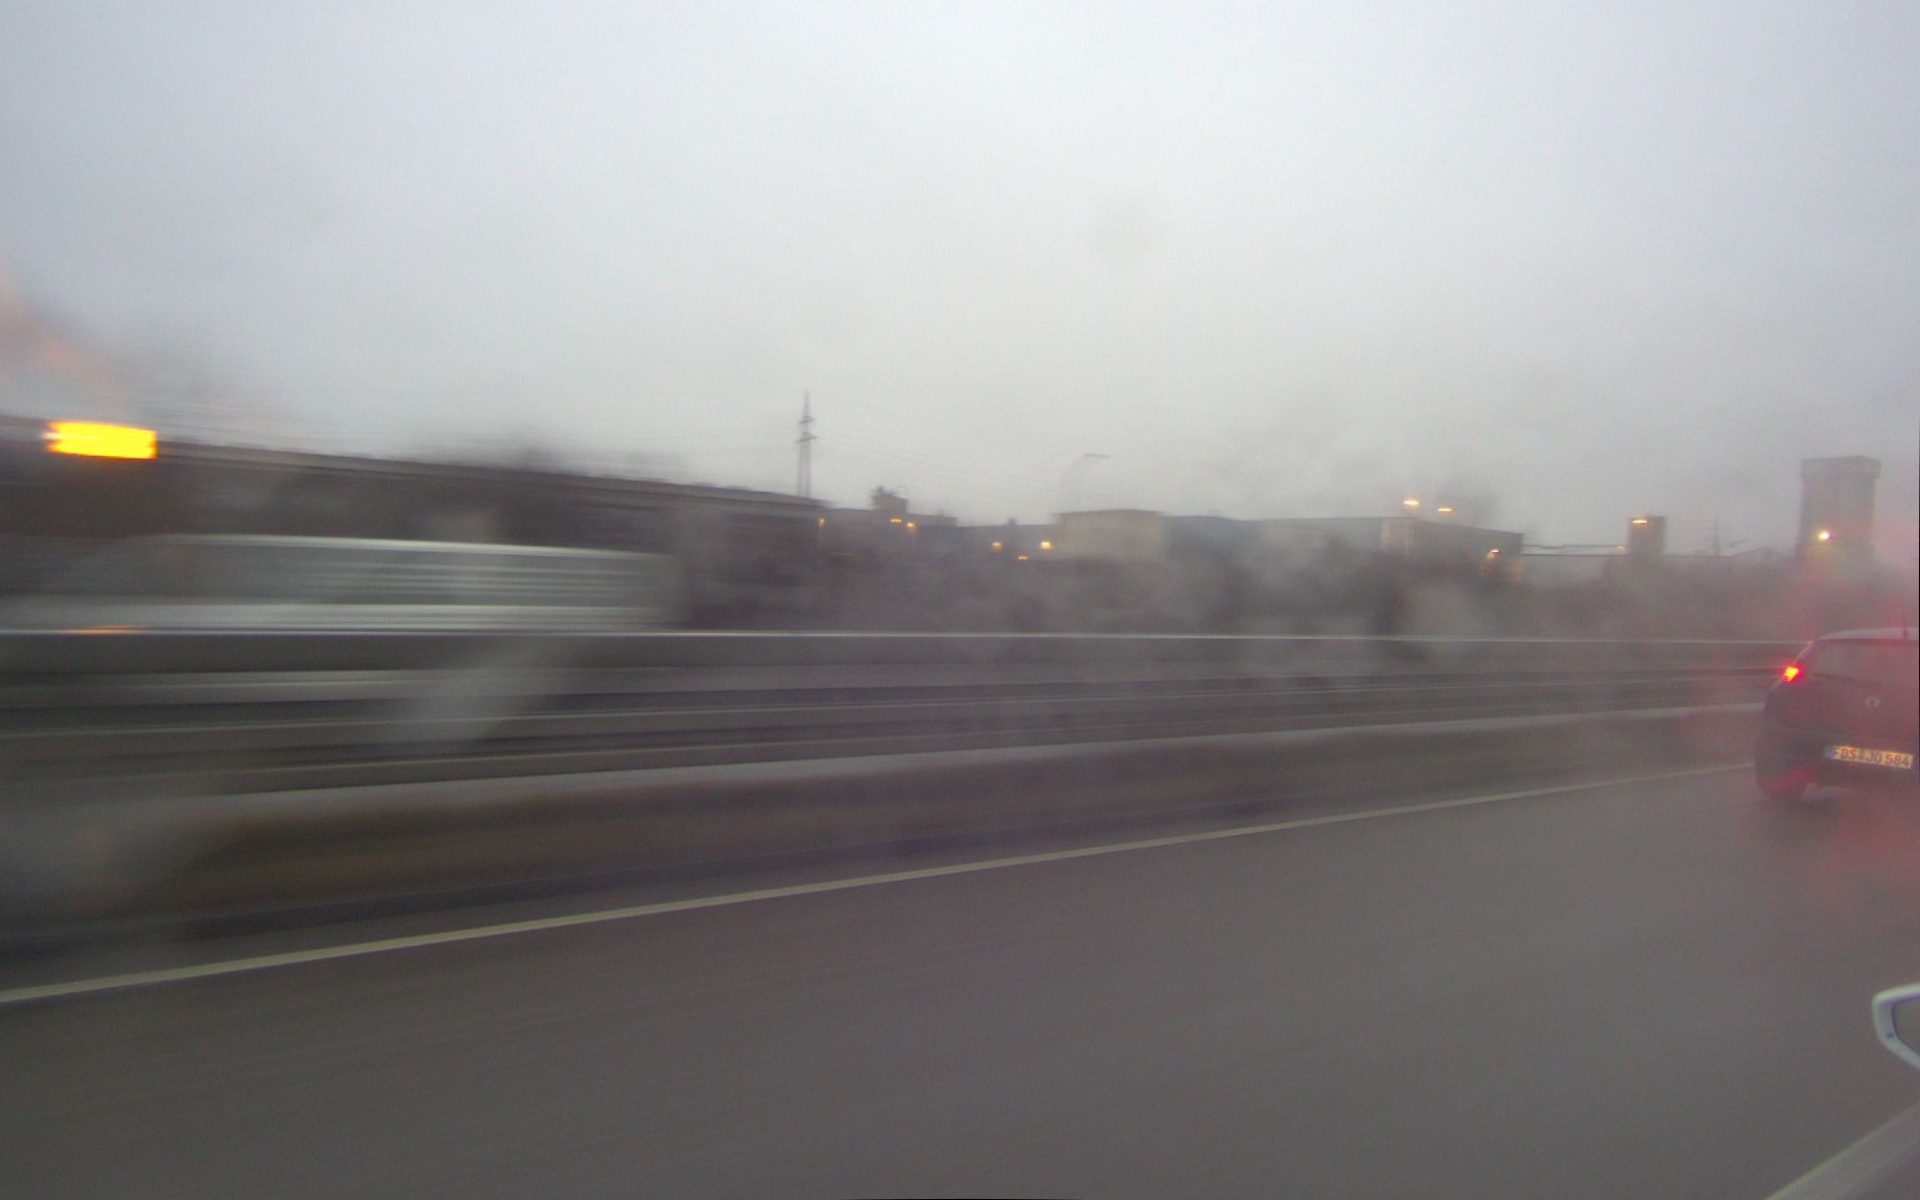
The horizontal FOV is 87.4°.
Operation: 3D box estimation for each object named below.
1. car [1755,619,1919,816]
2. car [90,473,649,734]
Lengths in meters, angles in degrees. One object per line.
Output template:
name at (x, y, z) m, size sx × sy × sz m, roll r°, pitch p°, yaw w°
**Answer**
car at (8.753, 0.951, 8.693) m, size 3.955 × 1.410 × 1.617 m, roll 2°, pitch 2°, yaw -31°
car at (-6.233, 0.167, 11.233) m, size 4.831 × 2.326 × 1.919 m, roll 5°, pitch -1°, yaw -30°
